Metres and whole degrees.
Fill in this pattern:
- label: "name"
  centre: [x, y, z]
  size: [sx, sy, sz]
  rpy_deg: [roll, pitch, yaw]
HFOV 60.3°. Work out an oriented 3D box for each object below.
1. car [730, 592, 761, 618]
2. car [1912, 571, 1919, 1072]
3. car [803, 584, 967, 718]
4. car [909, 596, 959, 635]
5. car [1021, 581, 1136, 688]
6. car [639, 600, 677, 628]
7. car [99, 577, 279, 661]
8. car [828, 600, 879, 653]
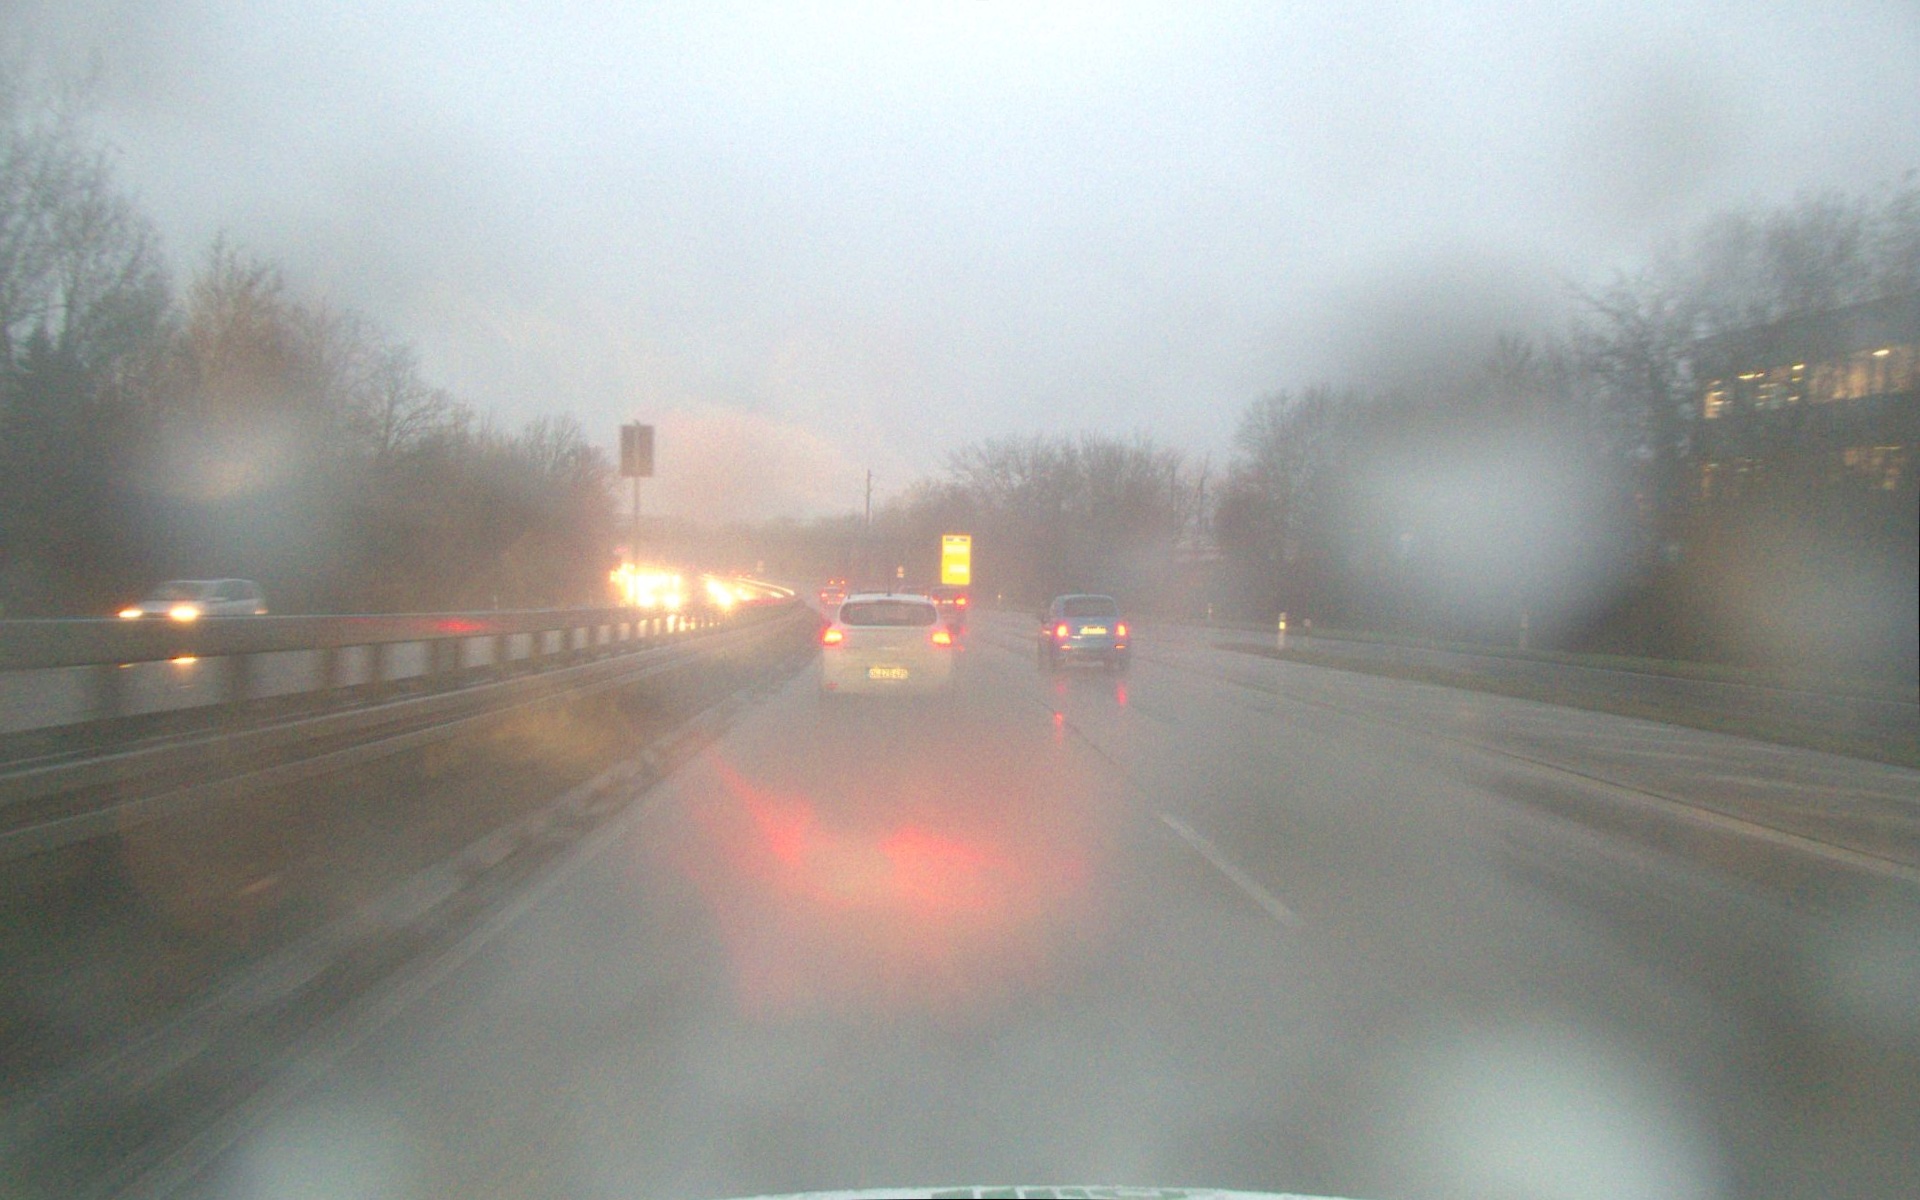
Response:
- label: "car"
  centre: [-13.102, 0.296, 101.214]
  size: [1.584, 1.510, 4.595]
  rpy_deg: [1, 0, -4]
- label: "car"
  centre: [3.909, 0.694, 2.996]
  size: [1.812, 1.528, 4.261]
  rpy_deg: [1, 0, -2]
- label: "car"
  centre: [-0.911, 0.628, 22.312]
  size: [1.983, 1.602, 4.000]
  rpy_deg: [1, 0, 0]
- label: "car"
  centre: [-1.216, 0.718, 76.569]
  size: [1.896, 1.573, 3.768]
  rpy_deg: [-5, 0, -6]
- label: "car"
  centre: [2.391, 0.671, 34.257]
  size: [1.894, 2.055, 3.771]
  rpy_deg: [1, 0, -3]
- label: "car"
  centre: [-17.611, 0.789, 96.563]
  size: [1.670, 1.593, 4.846]
  rpy_deg: [1, 0, -4]
- label: "car"
  centre: [-19.211, 0.450, 41.434]
  size: [1.951, 1.947, 4.449]
  rpy_deg: [1, 0, 8]
- label: "car"
  centre: [-4.296, 1.049, 66.692]
  size: [1.954, 2.049, 3.997]
  rpy_deg: [1, 0, -3]
